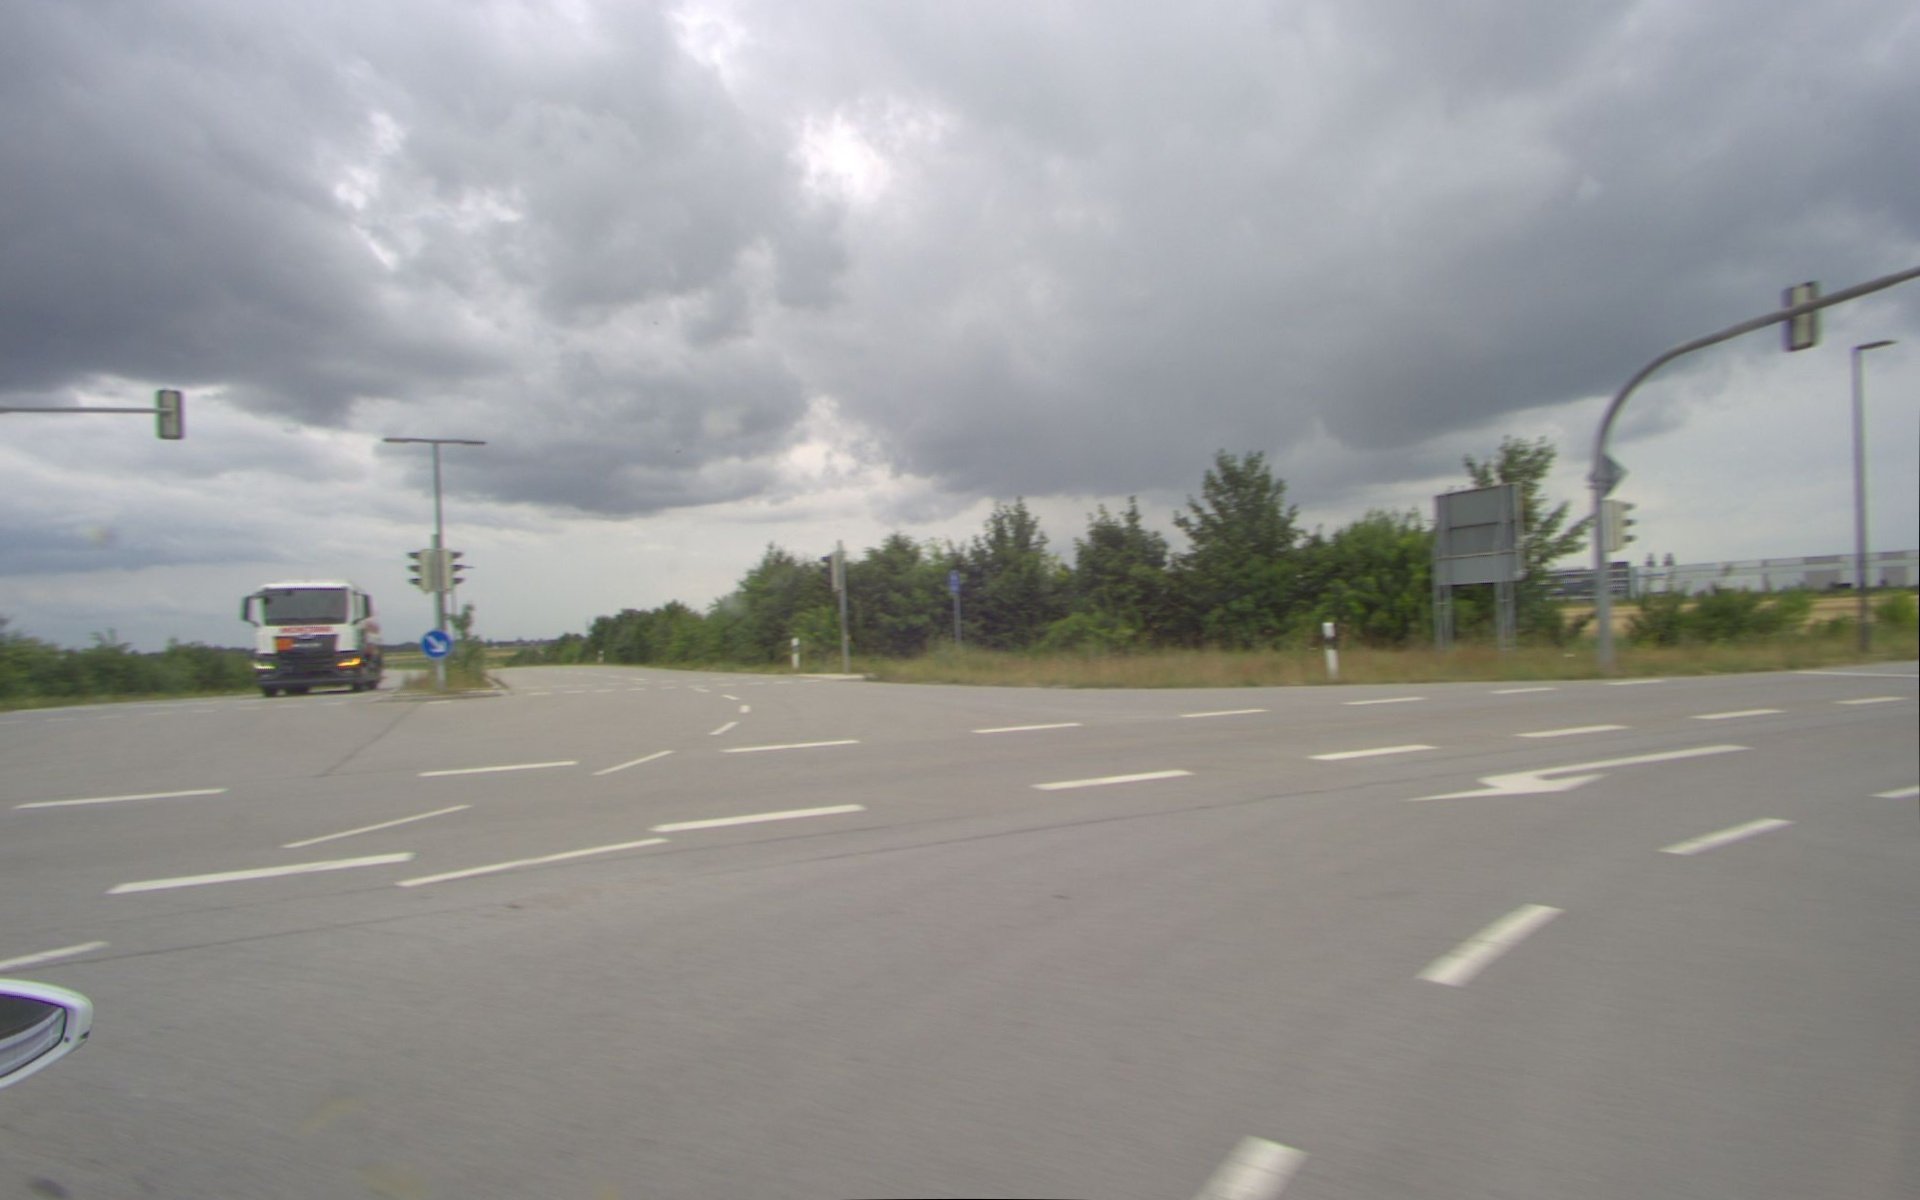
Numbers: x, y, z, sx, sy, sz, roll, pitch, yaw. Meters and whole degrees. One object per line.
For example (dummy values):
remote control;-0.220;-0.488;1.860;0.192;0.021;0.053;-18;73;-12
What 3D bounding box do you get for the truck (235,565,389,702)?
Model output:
truck;-19.117;1.041;30.077;2.834;3.451;8.619;-2;-2;-27
